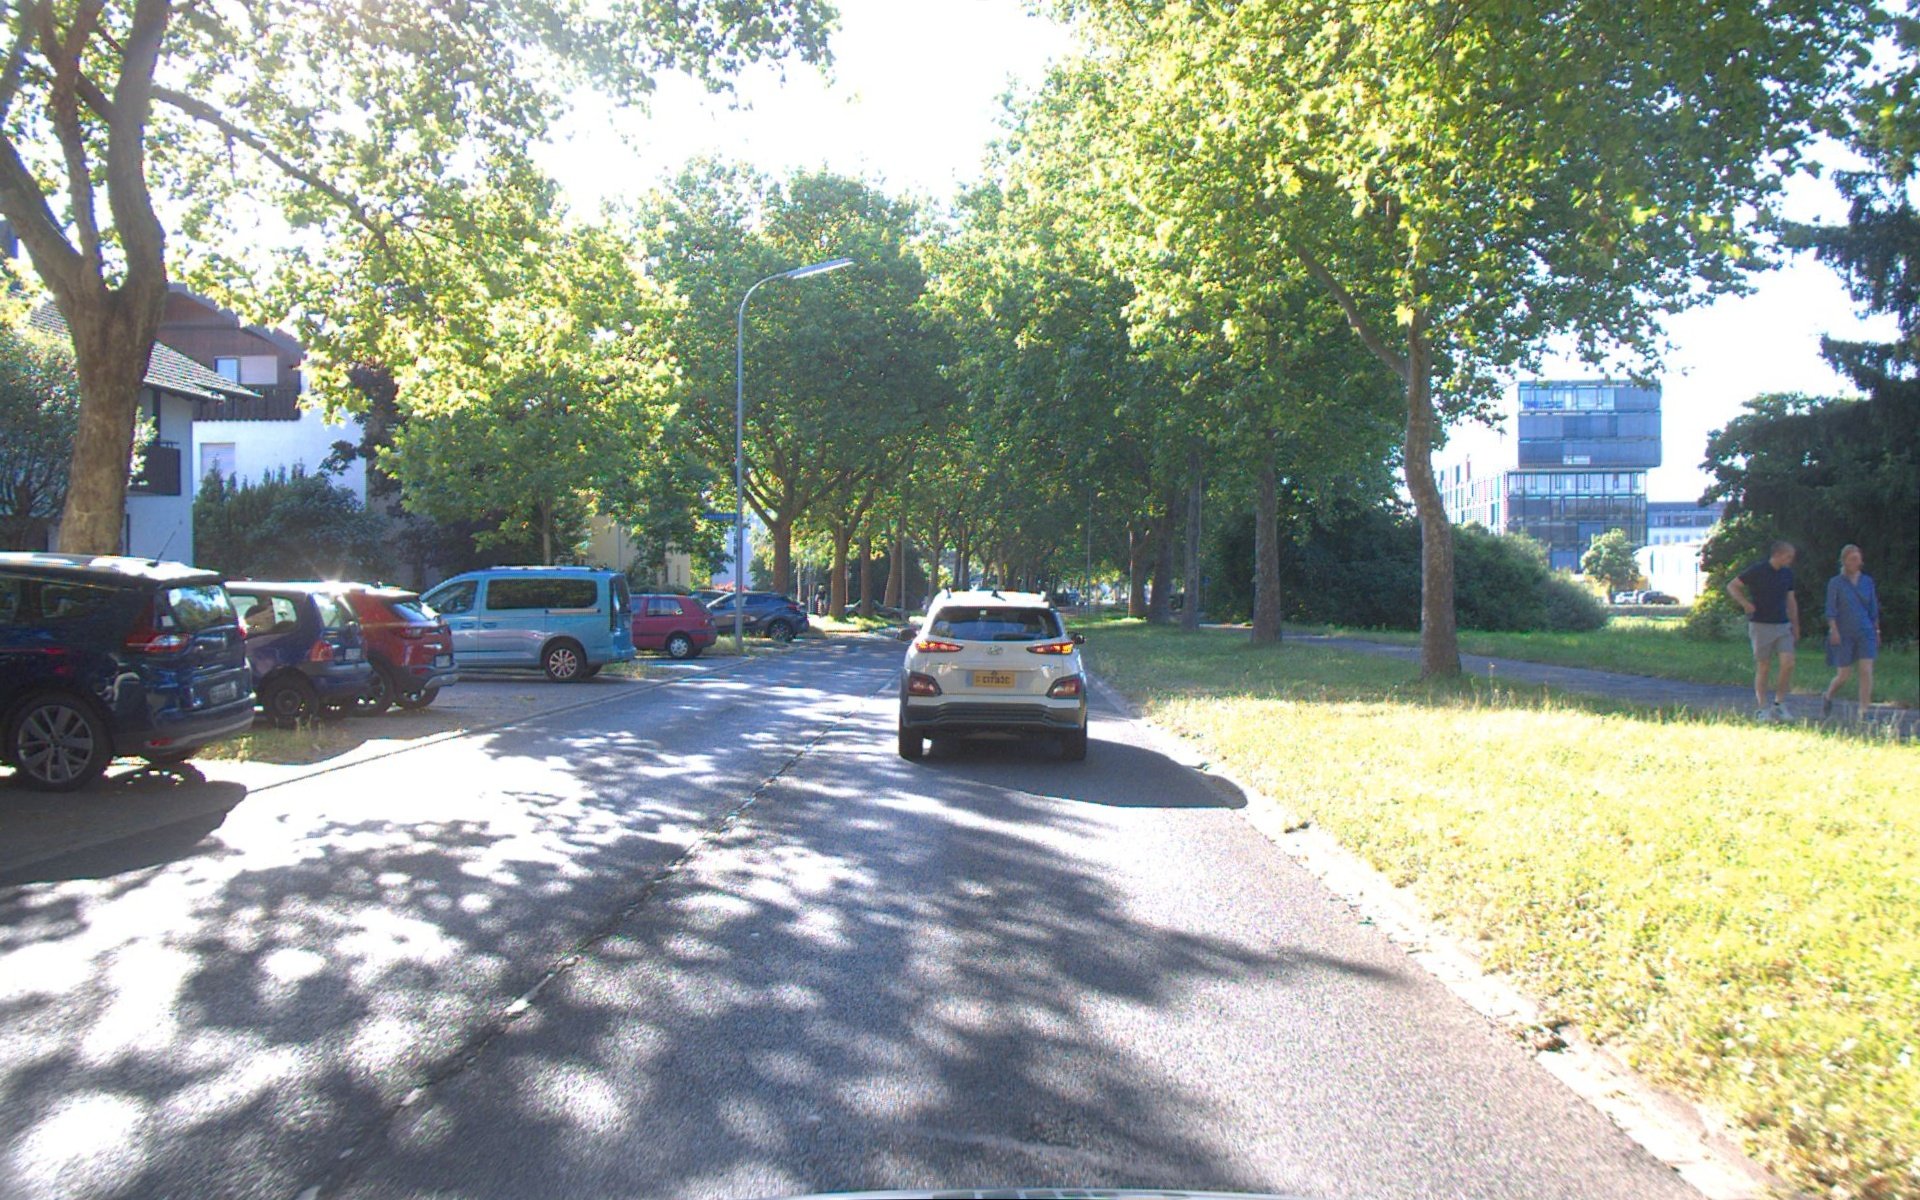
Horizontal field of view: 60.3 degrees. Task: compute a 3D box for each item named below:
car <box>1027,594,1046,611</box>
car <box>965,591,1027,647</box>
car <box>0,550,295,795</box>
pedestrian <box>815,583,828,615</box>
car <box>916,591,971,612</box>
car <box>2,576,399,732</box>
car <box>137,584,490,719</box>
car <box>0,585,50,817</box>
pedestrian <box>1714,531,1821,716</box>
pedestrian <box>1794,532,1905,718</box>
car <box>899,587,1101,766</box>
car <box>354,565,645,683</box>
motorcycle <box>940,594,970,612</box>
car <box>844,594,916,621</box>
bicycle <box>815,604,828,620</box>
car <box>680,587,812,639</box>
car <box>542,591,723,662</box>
[{"bbox_3d":[6.835,0.233,147.111,1.654,1.490,3.695,1,0,2],"label":"car"},{"bbox_3d":[1.040,0.515,48.363,1.726,1.549,3.921,1,0,1],"label":"car"},{"bbox_3d":[-7.483,0.508,12.679,4.008,1.746,1.831,0,0,-1],"label":"car"},{"bbox_3d":[-7.820,-0.059,93.537,0.604,1.746,1.066,0,0,3],"label":"pedestrian"},{"bbox_3d":[-1.245,0.100,127.314,4.096,1.612,2.000,0,0,1],"label":"car"},{"bbox_3d":[-8.047,0.550,17.783,3.442,1.543,1.725,1,0,-4],"label":"car"},{"bbox_3d":[-7.766,0.589,20.109,3.567,1.543,1.782,0,0,0],"label":"car"},{"bbox_3d":[-8.085,0.658,10.449,3.682,1.509,1.754,0,0,0],"label":"car"},{"bbox_3d":[8.413,0.239,17.264,0.745,1.878,0.788,0,0,3],"label":"pedestrian"},{"bbox_3d":[9.217,0.249,17.170,0.739,1.880,0.803,0,0,3],"label":"pedestrian"},{"bbox_3d":[0.293,0.692,16.928,1.798,1.583,3.998,1,0,-2],"label":"car"},{"bbox_3d":[-7.606,0.384,27.626,4.297,1.856,1.995,0,0,-2],"label":"car"},{"bbox_3d":[-0.412,0.253,129.818,2.336,1.412,0.648,1,0,0],"label":"motorcycle"},{"bbox_3d":[-4.330,0.411,89.965,3.745,1.339,1.791,2,0,3],"label":"car"},{"bbox_3d":[-7.841,0.682,93.622,0.460,0.895,2.157,0,0,3],"label":"bicycle"},{"bbox_3d":[-6.631,0.399,51.538,3.907,1.545,1.817,0,0,-2],"label":"car"},{"bbox_3d":[-7.395,0.583,37.557,3.793,1.545,1.664,0,0,-2],"label":"car"}]
